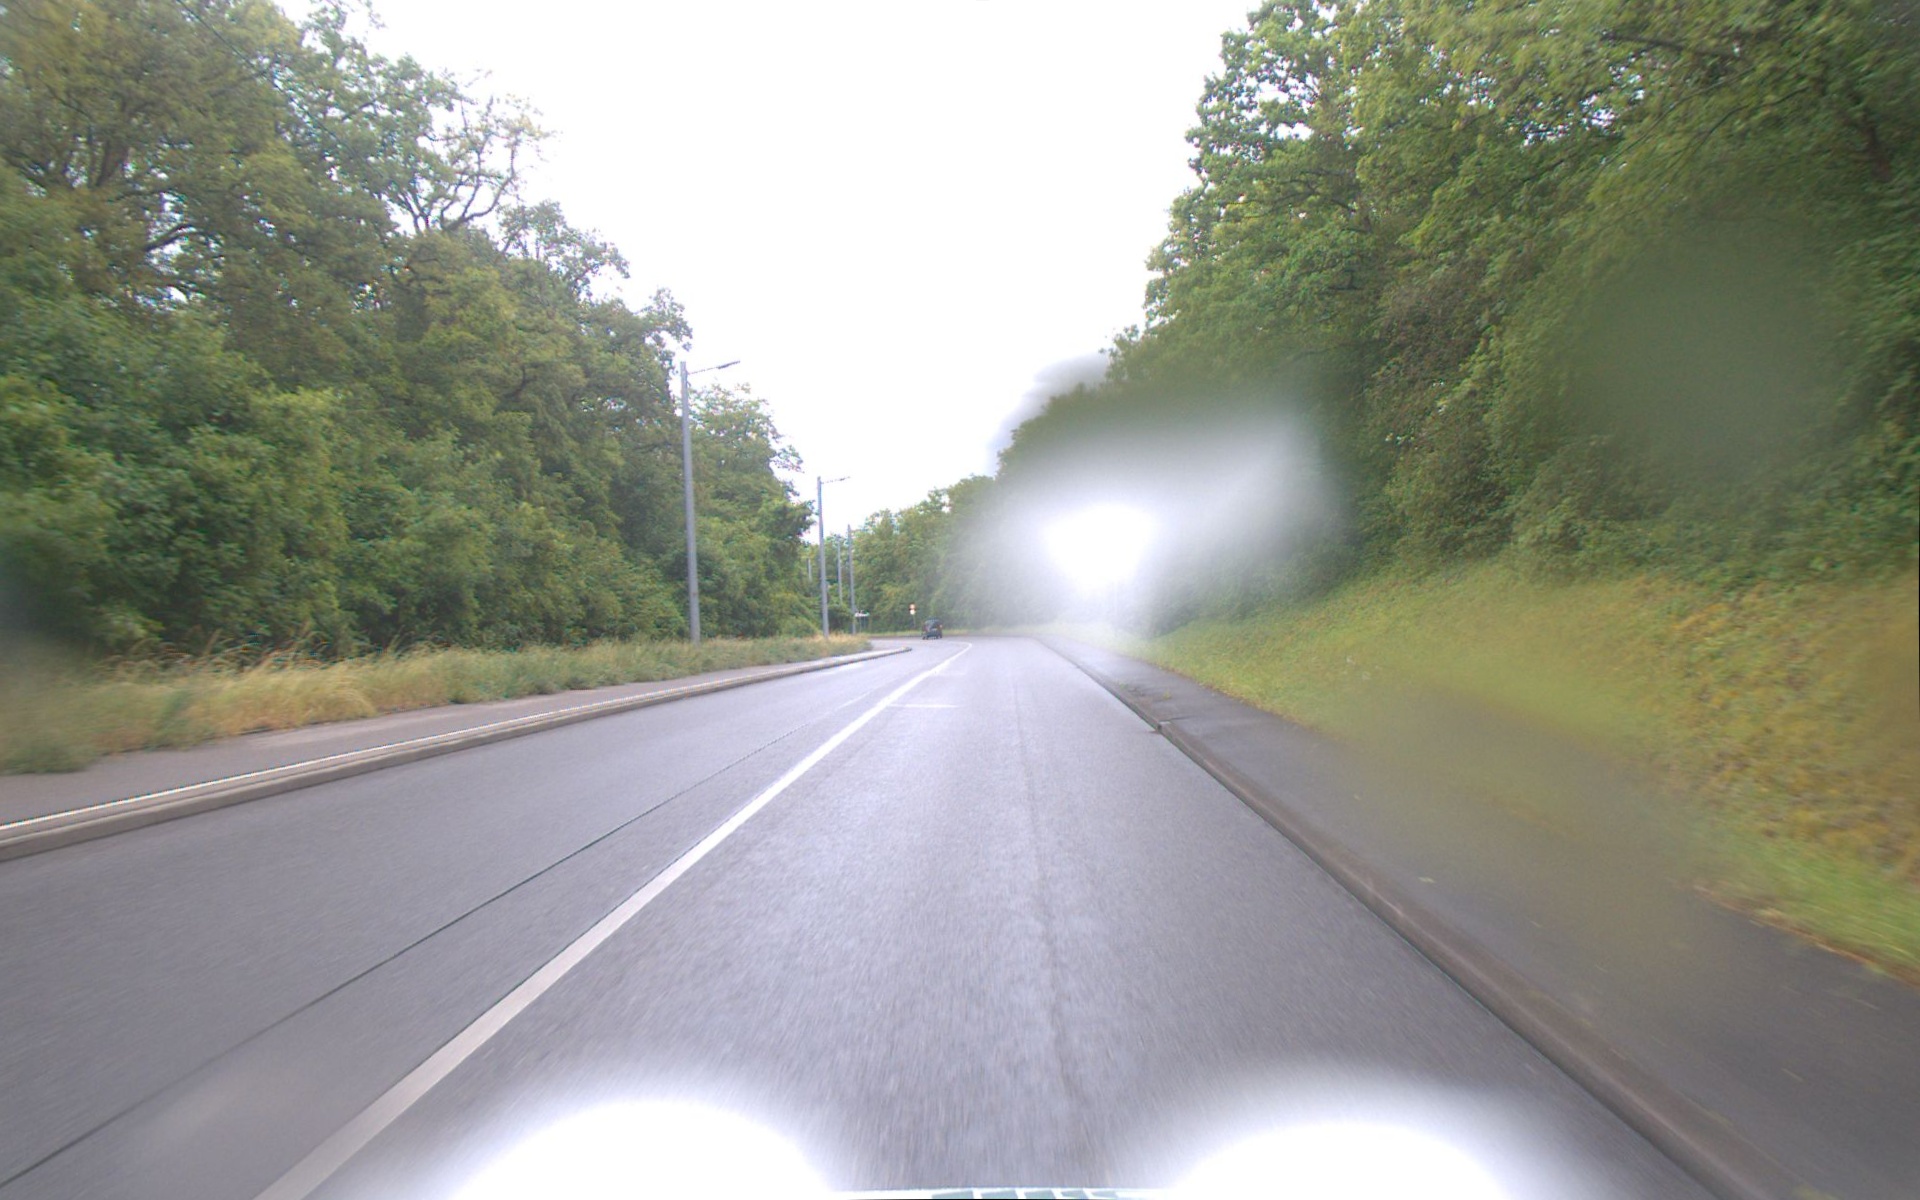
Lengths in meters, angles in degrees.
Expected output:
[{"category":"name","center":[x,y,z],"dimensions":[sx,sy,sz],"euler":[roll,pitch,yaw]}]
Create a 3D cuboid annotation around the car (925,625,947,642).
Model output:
[{"category":"car","center":[-2.391,3.358,164.707],"dimensions":[1.831,1.624,3.995],"euler":[1,-2,-6]}]
